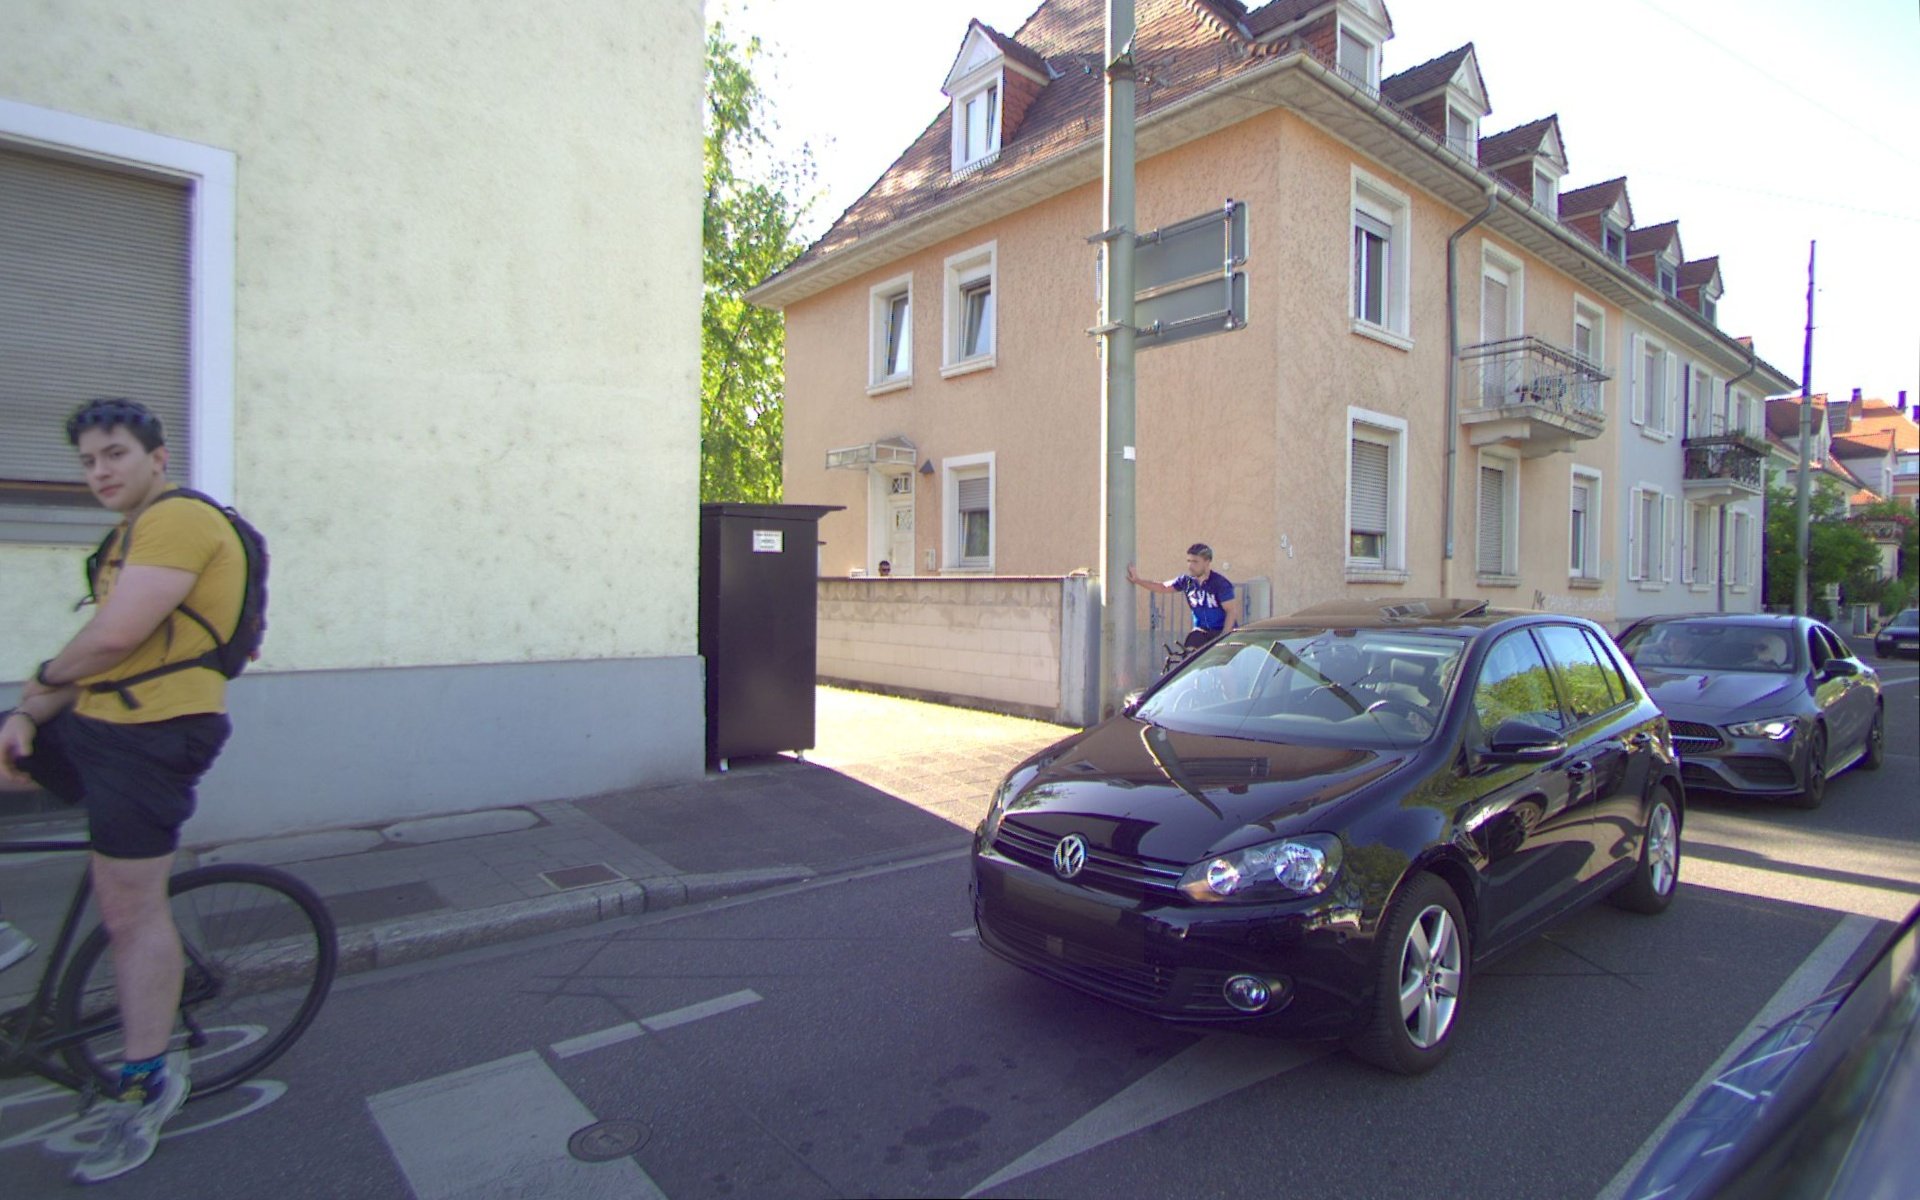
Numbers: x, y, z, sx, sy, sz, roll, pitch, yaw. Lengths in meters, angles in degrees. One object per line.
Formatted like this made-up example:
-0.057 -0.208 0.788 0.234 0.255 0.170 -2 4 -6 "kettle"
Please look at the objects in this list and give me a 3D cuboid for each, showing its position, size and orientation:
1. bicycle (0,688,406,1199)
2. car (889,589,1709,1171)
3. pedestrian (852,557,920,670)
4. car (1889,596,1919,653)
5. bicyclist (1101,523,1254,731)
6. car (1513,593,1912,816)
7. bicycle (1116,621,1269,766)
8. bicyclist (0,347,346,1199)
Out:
-2.486 0.869 2.587 0.777 1.120 1.720 0 0 36 "bicycle"
1.762 0.688 4.498 3.921 1.456 1.716 -1 0 -41 "car"
-1.133 0.185 15.431 0.600 1.624 0.760 0 6 -43 "pedestrian"
26.755 0.631 27.425 4.258 1.448 1.824 -1 0 -40 "car"
1.945 0.202 9.096 1.018 1.714 0.718 6 4 42 "bicyclist"
6.655 0.704 8.753 4.410 1.449 1.824 1 0 -40 "car"
2.091 0.773 8.964 0.554 1.088 1.601 6 4 42 "bicycle"
-2.274 0.424 2.770 0.777 1.991 0.768 0 0 36 "bicyclist"
